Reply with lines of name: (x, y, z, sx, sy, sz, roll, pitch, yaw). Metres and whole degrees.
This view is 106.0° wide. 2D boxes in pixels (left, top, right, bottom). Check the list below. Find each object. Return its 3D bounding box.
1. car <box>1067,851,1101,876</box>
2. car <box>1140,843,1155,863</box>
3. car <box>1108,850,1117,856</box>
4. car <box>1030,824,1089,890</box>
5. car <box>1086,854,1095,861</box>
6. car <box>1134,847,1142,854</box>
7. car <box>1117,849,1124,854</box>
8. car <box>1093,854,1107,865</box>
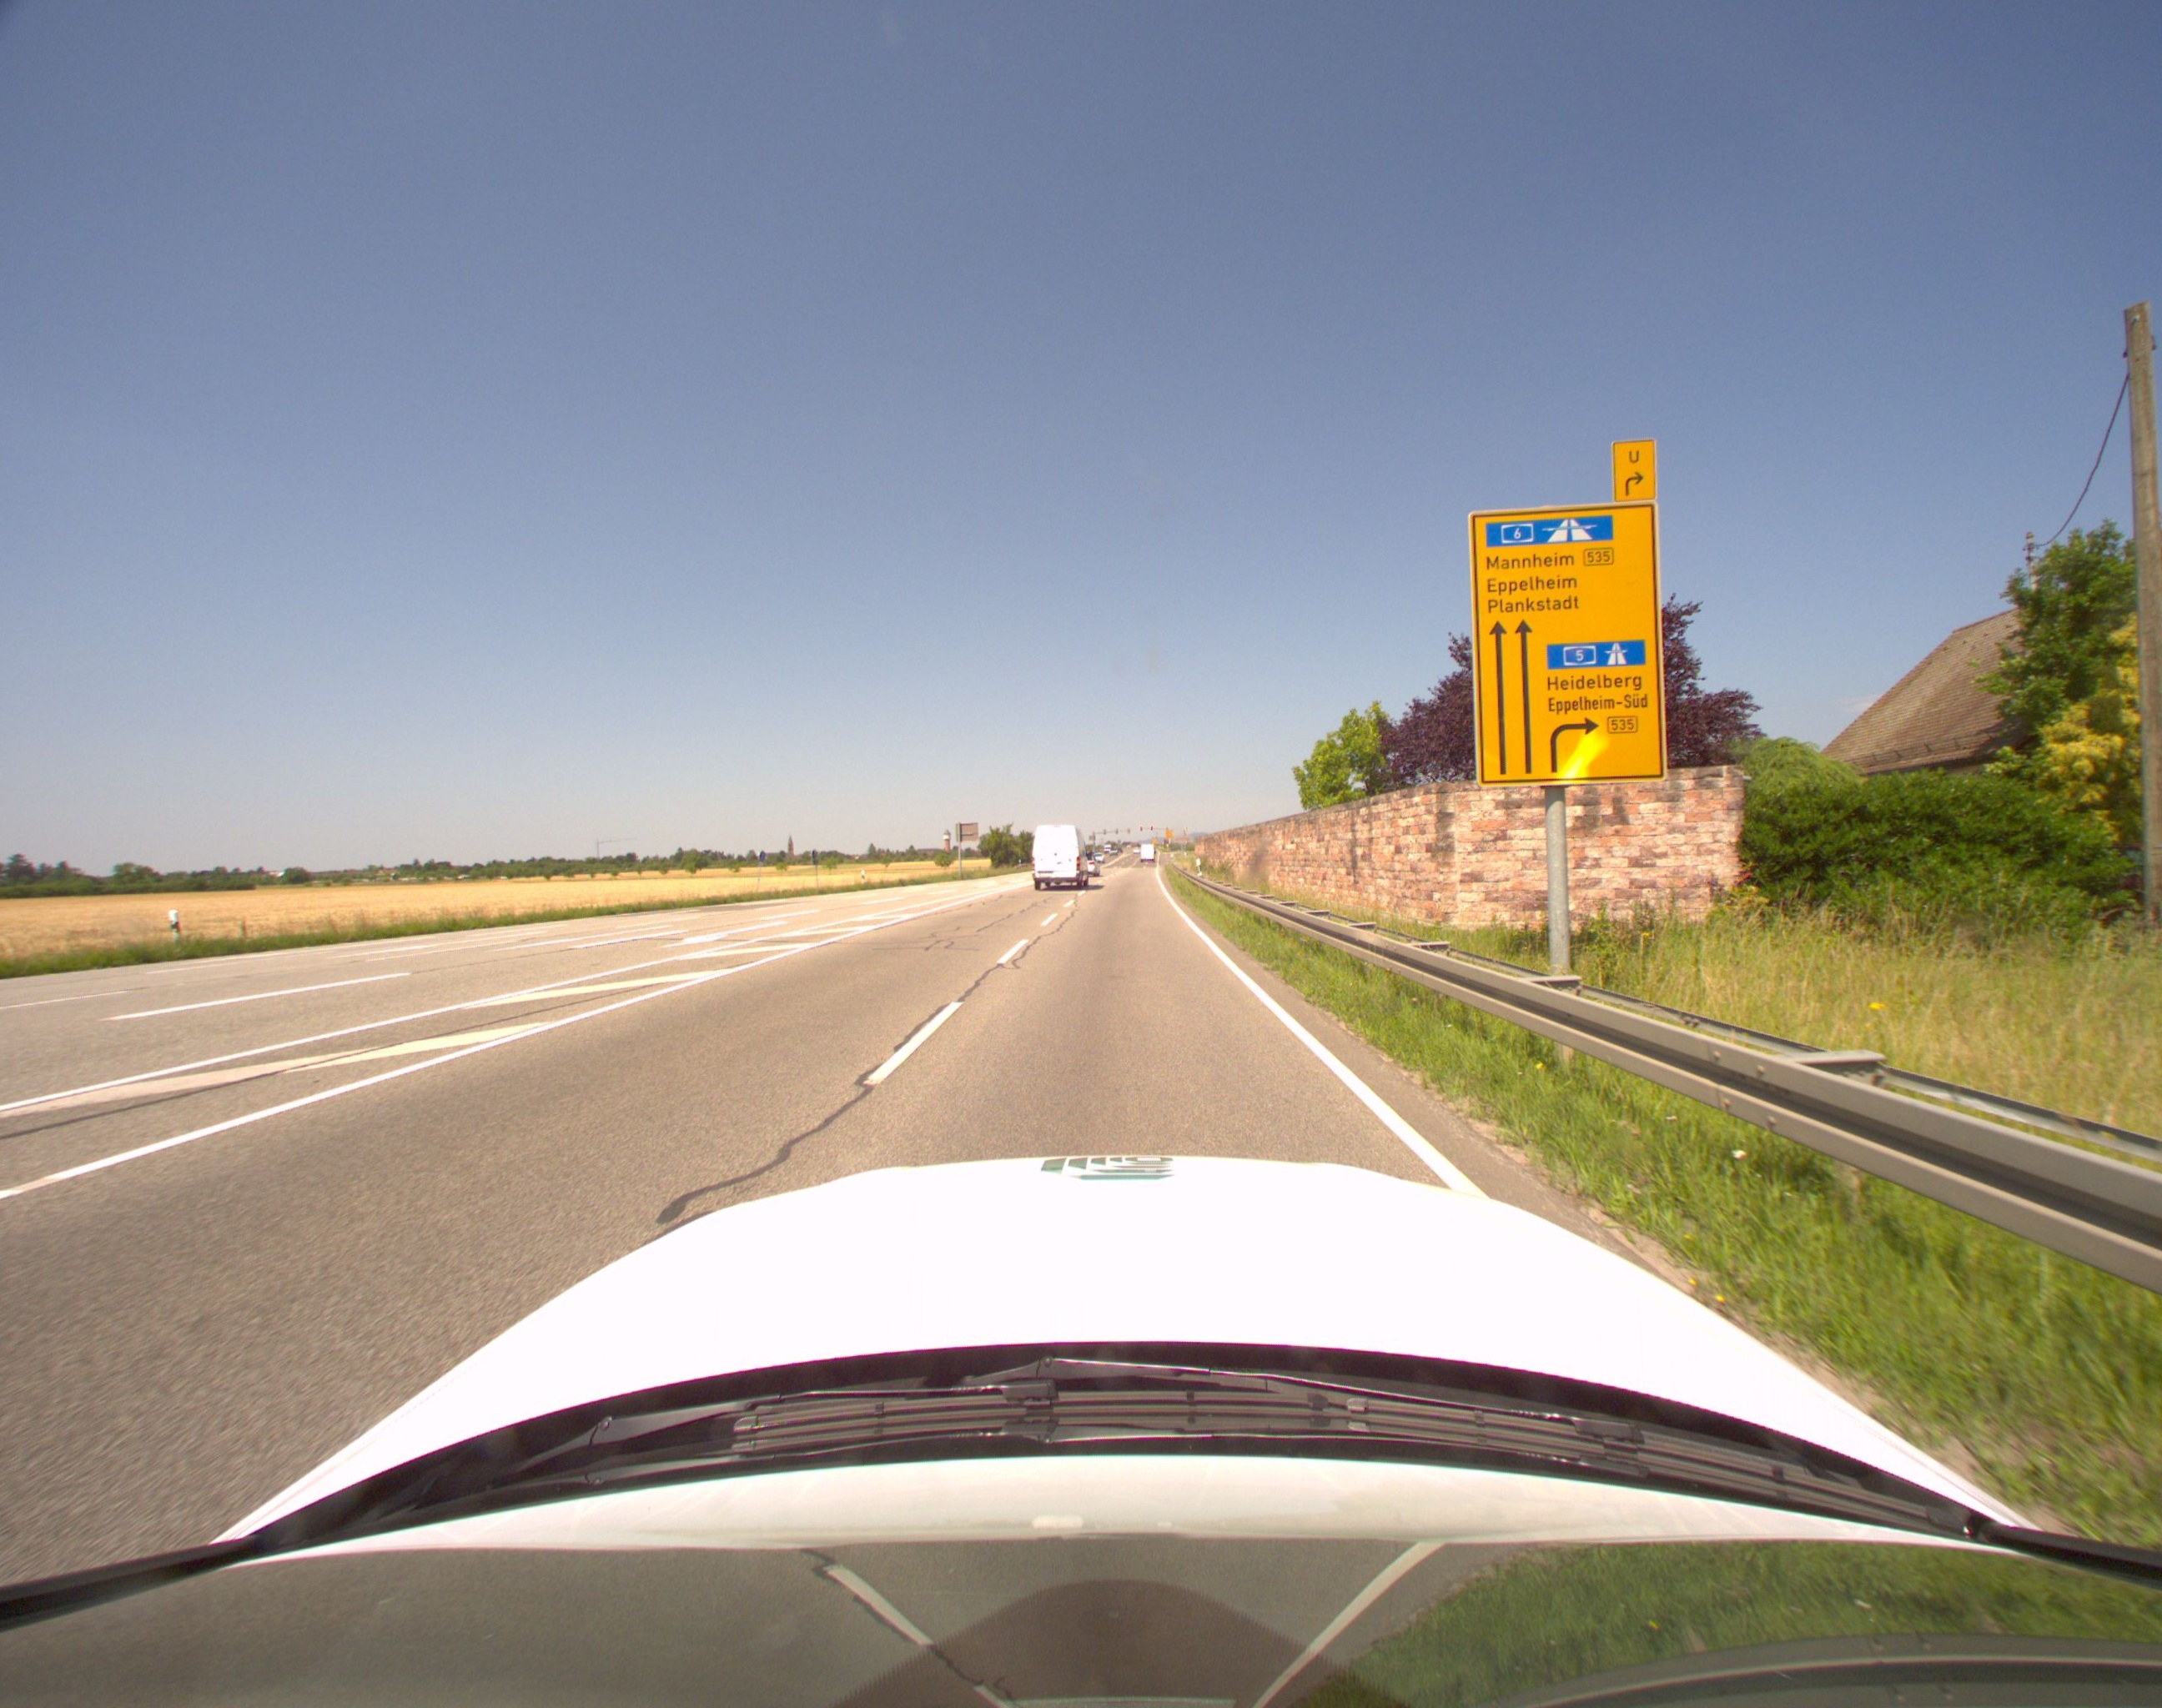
car: (0.223, 0.612, 52.804, 1.791, 1.508, 4.202, -3, 0, 5)
car: (9.603, -0.144, 117.550, 1.984, 2.695, 4.976, -3, 0, 5)
car: (7.628, -0.175, 198.001, 1.848, 1.423, 4.007, -3, 0, 6)
car: (-0.821, 0.135, 35.181, 2.030, 2.620, 5.746, 0, -1, 3)
car: (1.829, 0.704, 156.525, 1.864, 1.255, 4.281, 0, -1, 1)
car: (14.703, -0.822, 211.319, 1.984, 1.703, 4.281, 0, -1, 5)
car: (11.751, -0.806, 244.341, 1.848, 1.423, 4.007, -1, -1, 6)
car: (2.741, 0.782, 116.919, 1.741, 1.442, 4.087, -2, 0, 5)
